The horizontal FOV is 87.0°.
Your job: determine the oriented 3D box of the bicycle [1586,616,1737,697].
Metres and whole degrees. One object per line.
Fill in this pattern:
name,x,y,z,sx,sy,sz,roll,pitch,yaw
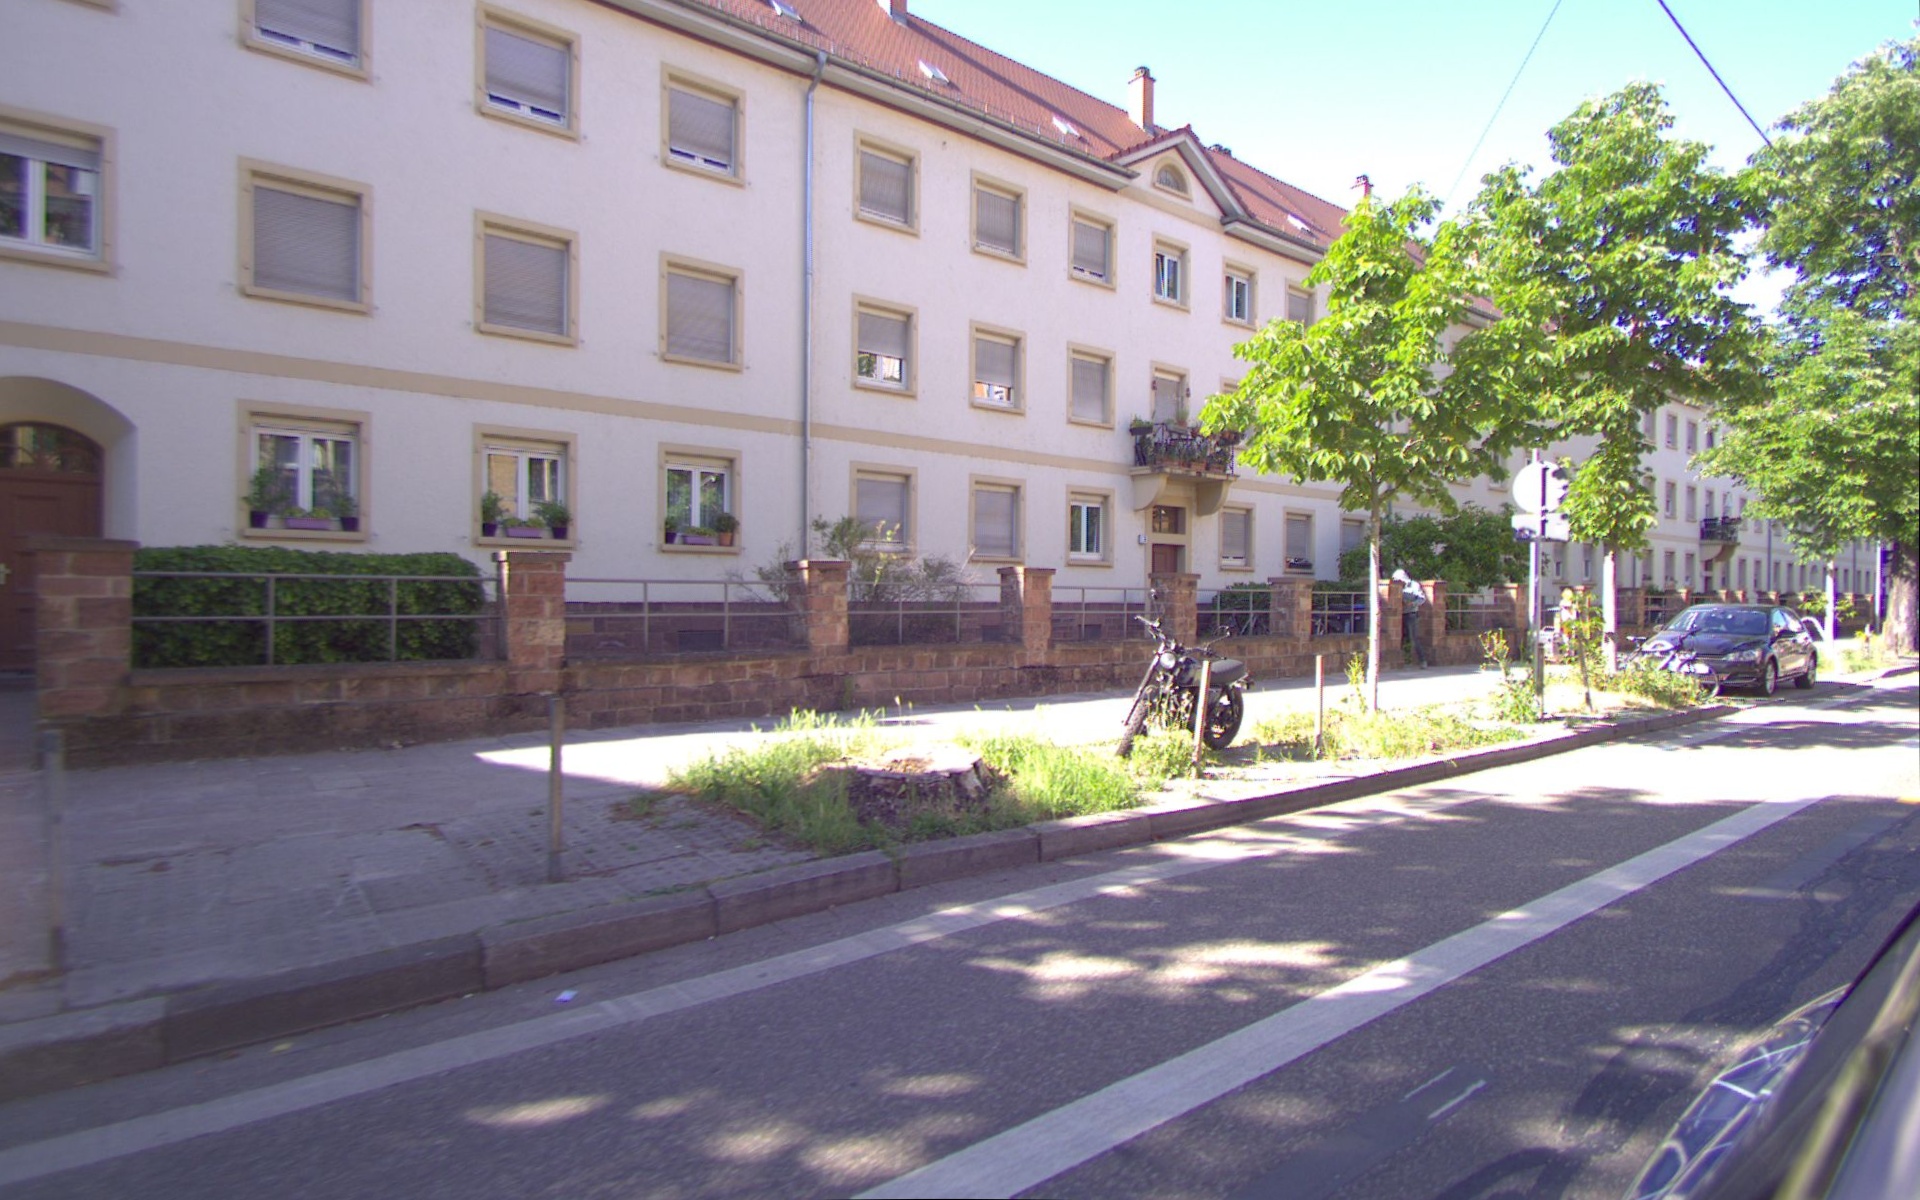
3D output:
bicycle,10.779,0.833,15.597,0.610,1.080,1.796,0,2,-42

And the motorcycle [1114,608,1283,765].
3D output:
motorcycle,2.123,0.692,8.852,0.495,1.205,1.832,5,4,44

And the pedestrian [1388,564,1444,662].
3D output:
pedestrian,8.279,0.235,18.385,0.568,1.746,0.766,0,-1,-8

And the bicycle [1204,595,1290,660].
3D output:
bicycle,5.395,0.500,18.978,1.882,1.167,0.546,0,-1,-38

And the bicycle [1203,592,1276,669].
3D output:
bicycle,4.745,0.500,17.155,1.397,1.277,0.349,0,-1,-34

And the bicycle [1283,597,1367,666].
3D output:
bicycle,6.465,0.529,17.877,1.882,1.167,0.449,0,0,-38

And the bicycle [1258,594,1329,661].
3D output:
bicycle,6.098,0.488,18.466,1.545,1.167,0.442,0,-1,-38

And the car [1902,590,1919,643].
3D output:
car,29.275,0.485,29.767,4.170,1.492,1.724,0,1,-39

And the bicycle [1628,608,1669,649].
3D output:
bicycle,21.449,0.867,31.509,1.710,1.235,0.544,0,1,-38

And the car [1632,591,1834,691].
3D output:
car,13.194,0.608,17.198,3.970,1.482,1.792,0,1,-38

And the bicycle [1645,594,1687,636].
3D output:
bicycle,21.453,0.435,30.748,1.710,1.235,0.544,0,1,-38
